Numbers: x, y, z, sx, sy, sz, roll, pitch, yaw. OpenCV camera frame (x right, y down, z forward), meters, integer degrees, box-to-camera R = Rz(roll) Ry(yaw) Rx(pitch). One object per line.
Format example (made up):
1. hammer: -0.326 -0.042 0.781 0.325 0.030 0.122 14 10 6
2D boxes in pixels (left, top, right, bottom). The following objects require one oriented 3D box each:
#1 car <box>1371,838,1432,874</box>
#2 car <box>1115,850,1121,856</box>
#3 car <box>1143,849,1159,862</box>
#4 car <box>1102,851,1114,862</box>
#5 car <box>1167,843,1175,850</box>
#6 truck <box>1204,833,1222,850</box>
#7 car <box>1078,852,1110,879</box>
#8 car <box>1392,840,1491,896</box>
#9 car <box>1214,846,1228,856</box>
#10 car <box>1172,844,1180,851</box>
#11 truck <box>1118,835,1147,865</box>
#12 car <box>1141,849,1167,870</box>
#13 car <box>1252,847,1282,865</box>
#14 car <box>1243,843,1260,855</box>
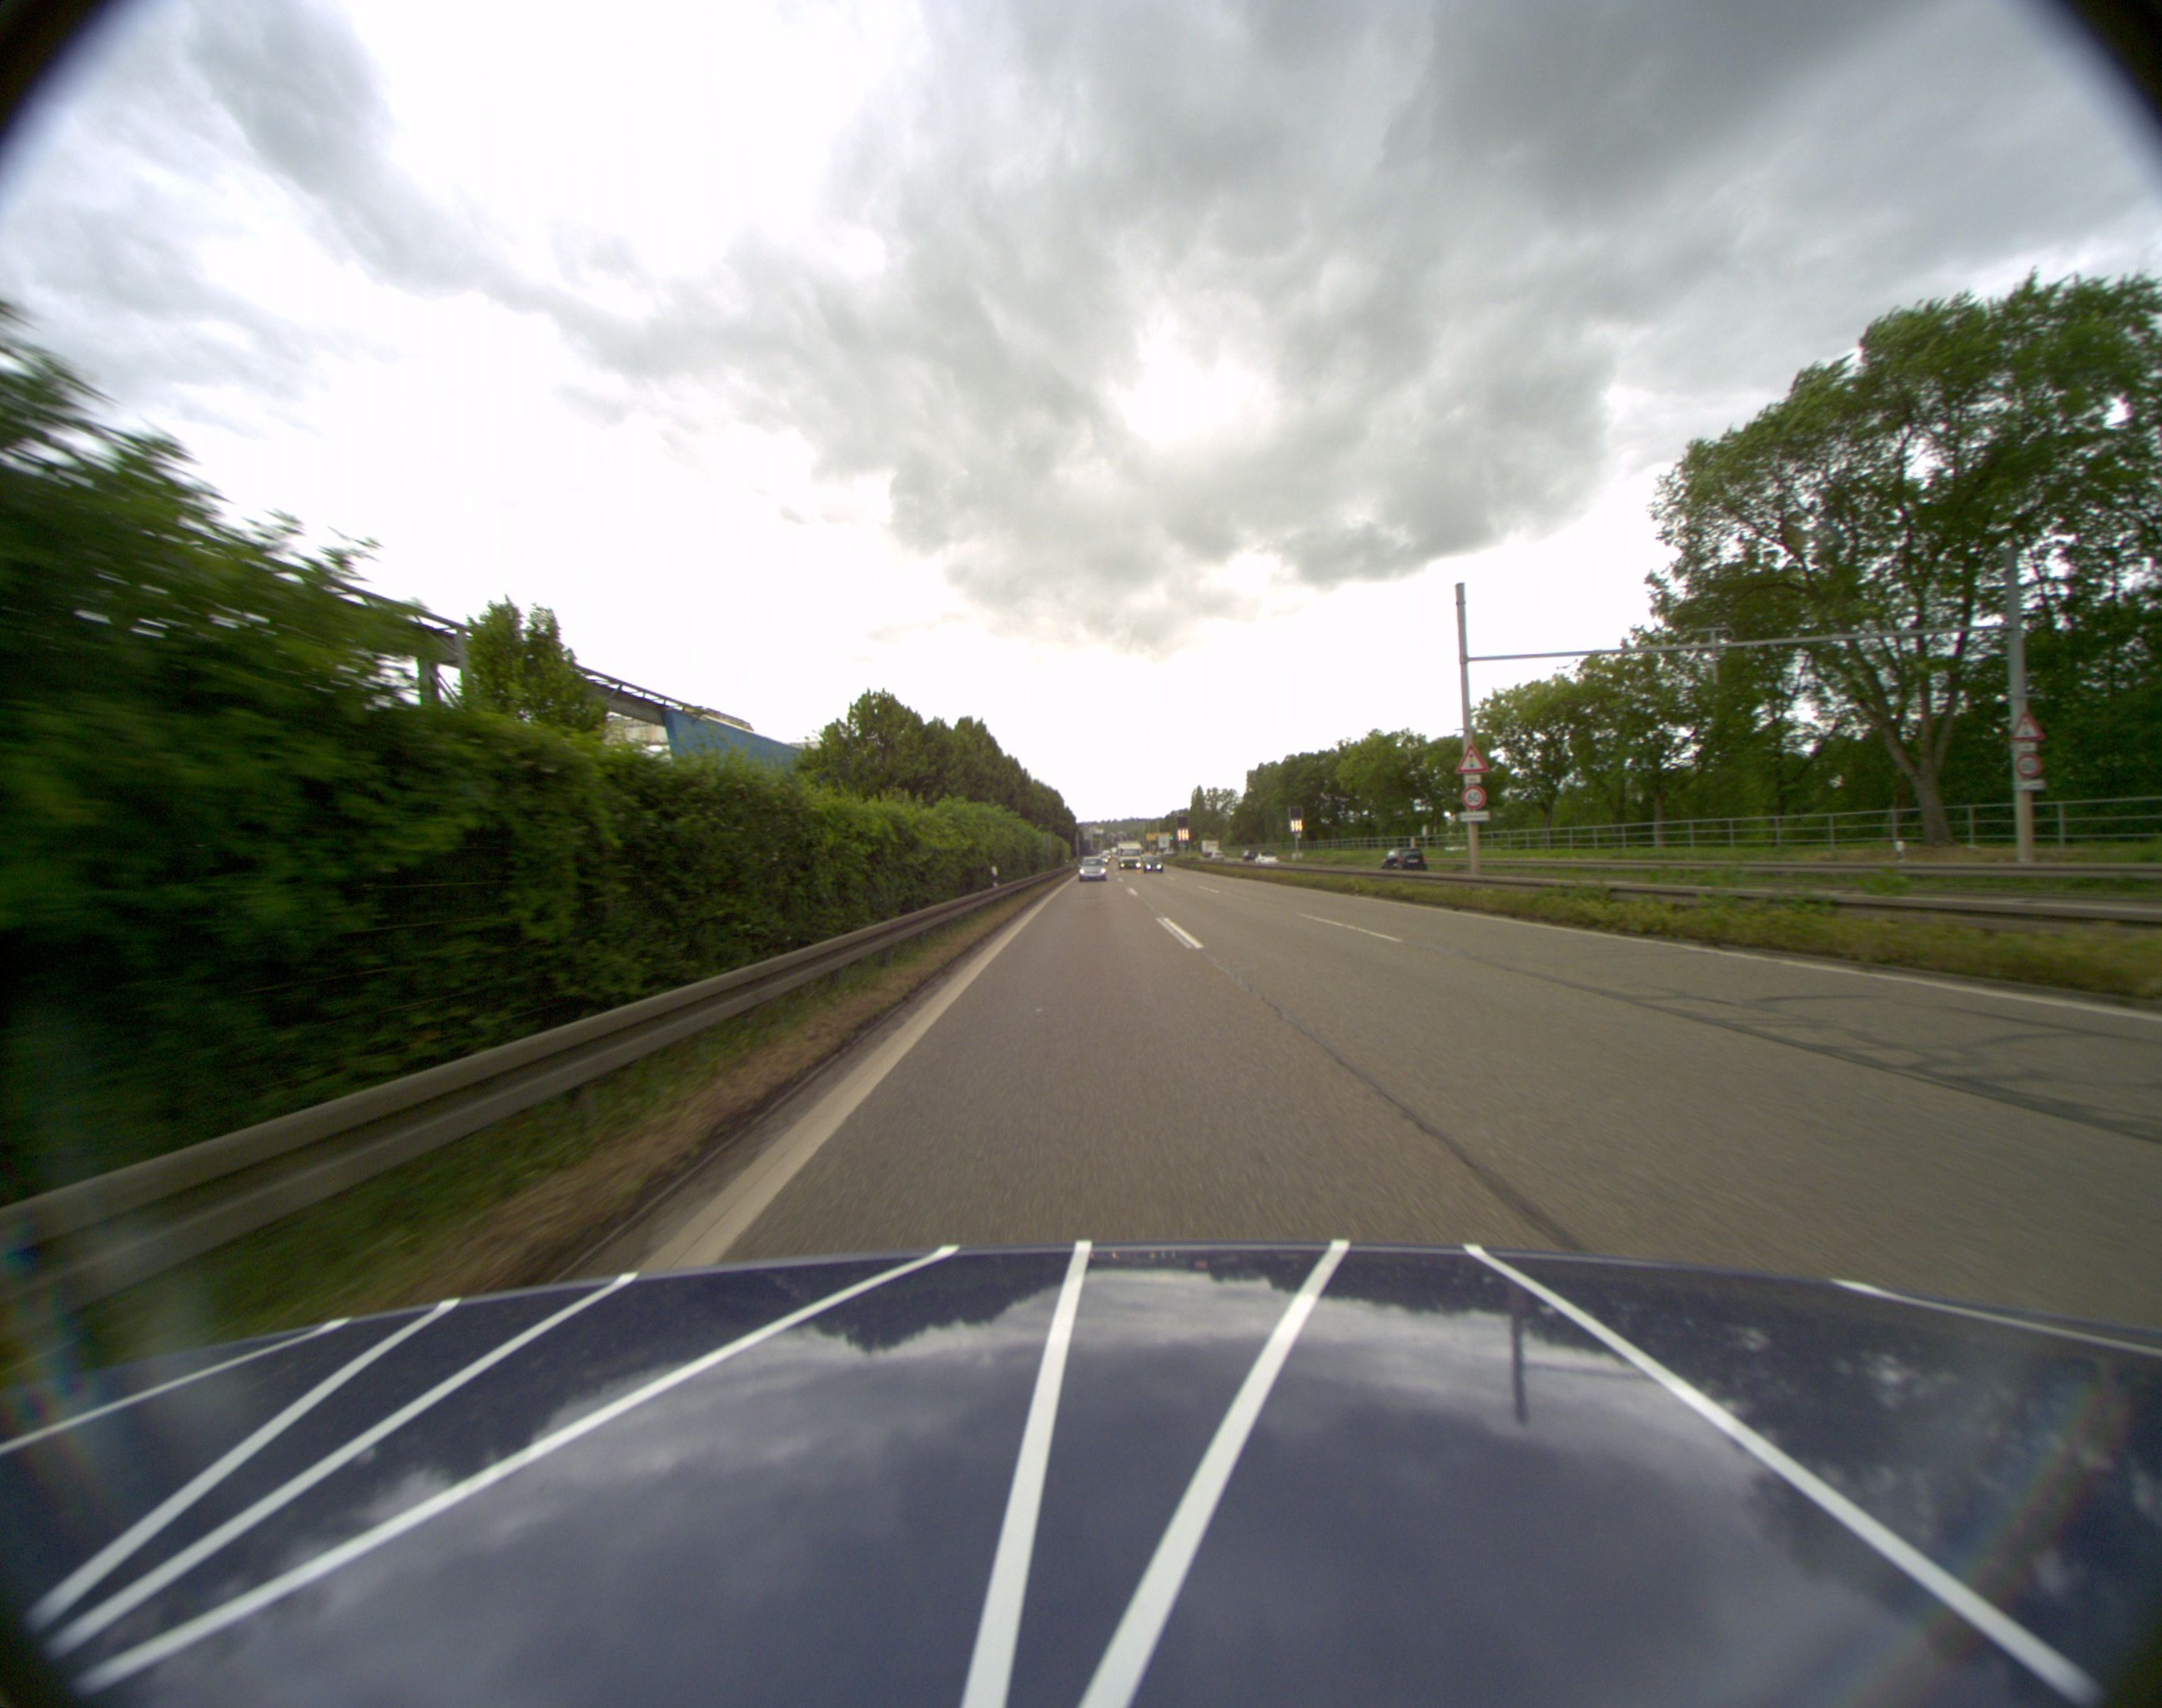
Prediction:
1. car: 16.946 0.091 40.330 1.730 1.764 3.742 -2 0 2
2. car: 12.246 -0.234 253.500 1.949 1.811 4.000 -2 0 1
3. car: 10.393 0.195 112.876 1.883 1.714 4.147 -3 0 1
4. car: 4.375 0.407 125.016 1.883 1.714 4.147 -3 0 1
5. car: 28.196 -2.346 239.005 2.231 1.936 5.475 -3 0 5
6. truck: 28.614 -2.672 165.035 2.895 3.558 9.589 -2 0 4
7. car: 0.858 0.731 48.281 1.883 1.530 4.147 -3 0 1
8. car: 12.480 0.438 26.575 1.730 1.764 3.742 -2 0 2
9. car: 22.551 -0.499 122.603 1.701 1.595 4.539 -1 0 2
10. car: 27.097 -1.799 216.267 1.883 1.714 4.148 -3 0 5
11. truck: 5.948 -0.435 89.762 2.656 3.120 12.510 -3 0 1
12. car: 6.437 0.463 67.489 1.883 1.714 4.147 -3 0 1
13. car: 18.357 0.226 75.356 1.871 1.665 4.719 -2 0 1
14. car: 24.555 -0.708 109.362 1.730 1.595 4.043 -1 0 2
